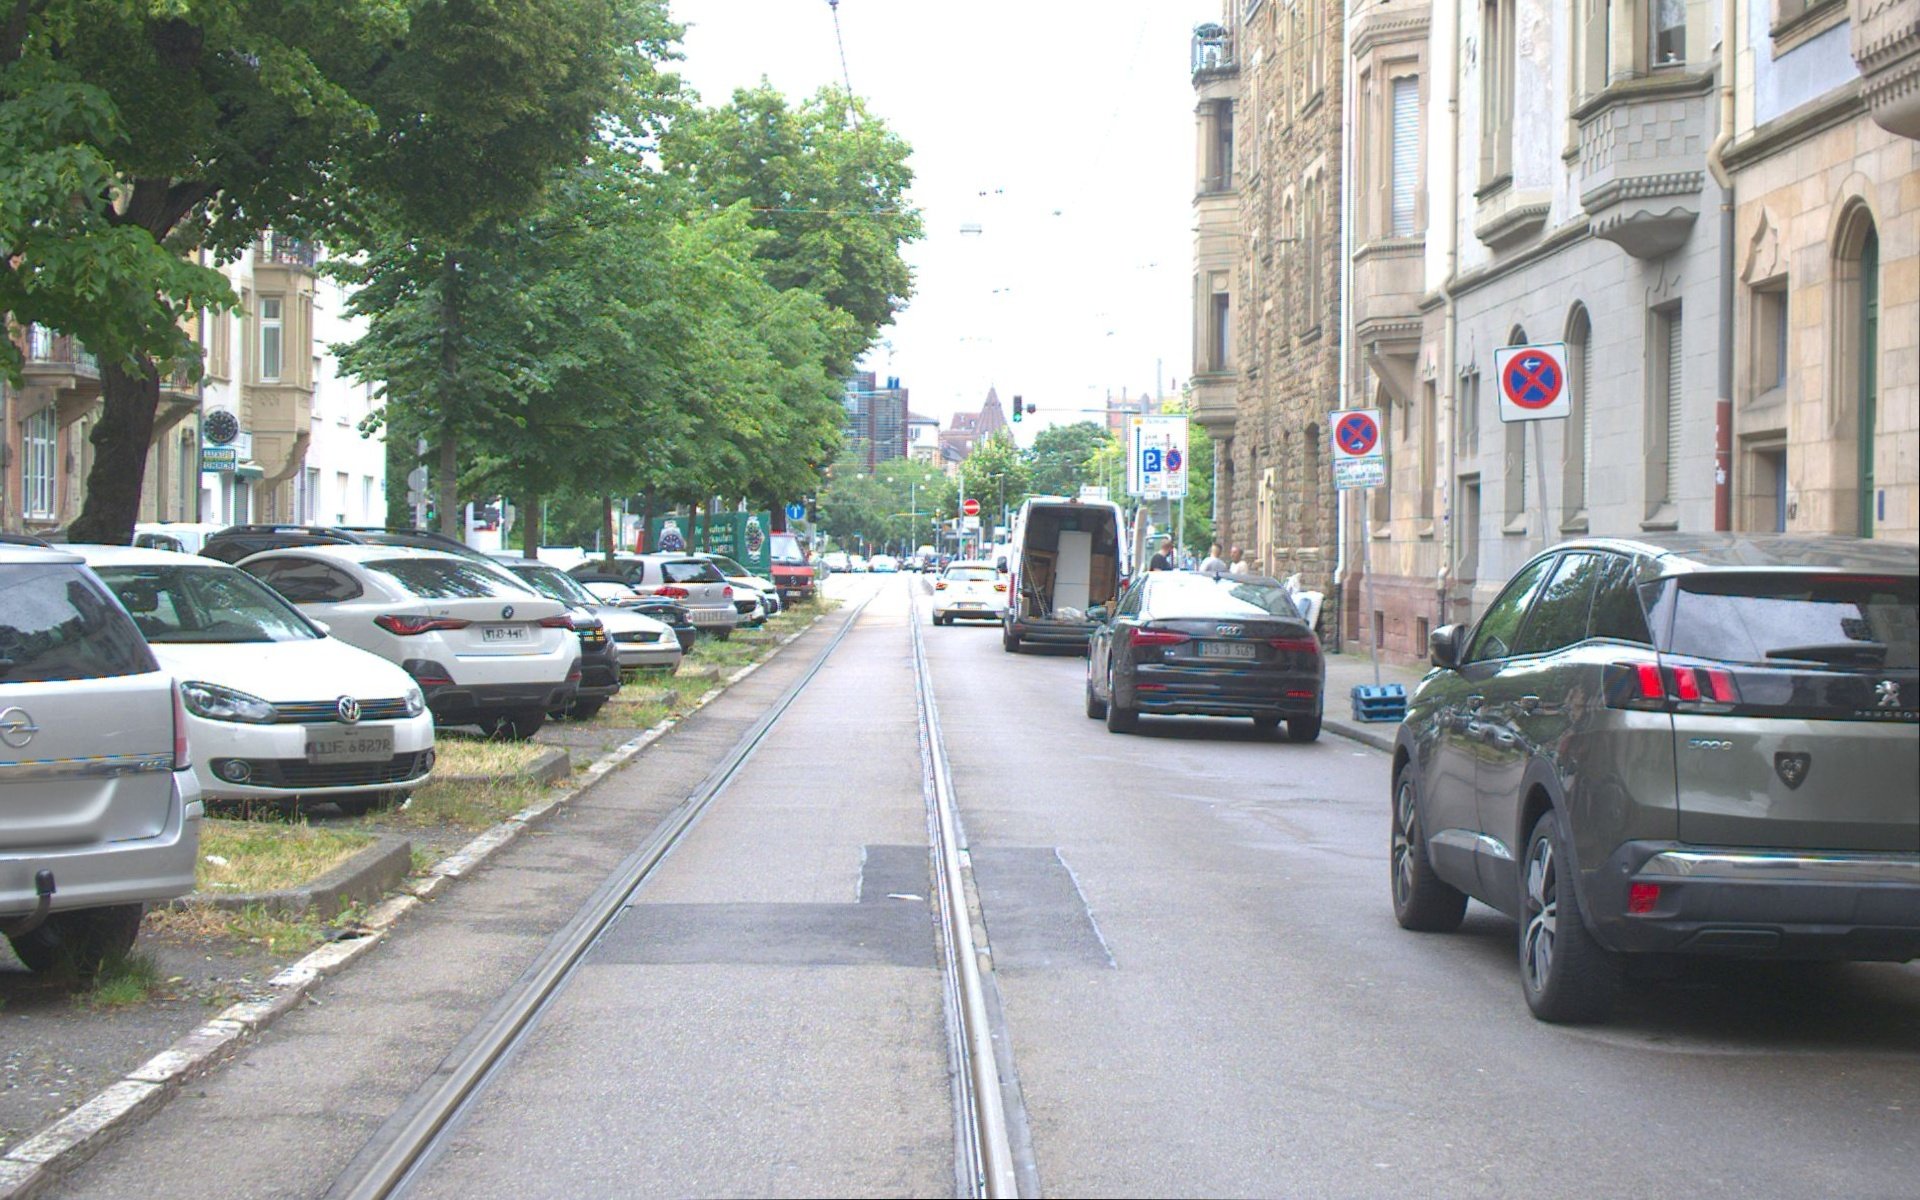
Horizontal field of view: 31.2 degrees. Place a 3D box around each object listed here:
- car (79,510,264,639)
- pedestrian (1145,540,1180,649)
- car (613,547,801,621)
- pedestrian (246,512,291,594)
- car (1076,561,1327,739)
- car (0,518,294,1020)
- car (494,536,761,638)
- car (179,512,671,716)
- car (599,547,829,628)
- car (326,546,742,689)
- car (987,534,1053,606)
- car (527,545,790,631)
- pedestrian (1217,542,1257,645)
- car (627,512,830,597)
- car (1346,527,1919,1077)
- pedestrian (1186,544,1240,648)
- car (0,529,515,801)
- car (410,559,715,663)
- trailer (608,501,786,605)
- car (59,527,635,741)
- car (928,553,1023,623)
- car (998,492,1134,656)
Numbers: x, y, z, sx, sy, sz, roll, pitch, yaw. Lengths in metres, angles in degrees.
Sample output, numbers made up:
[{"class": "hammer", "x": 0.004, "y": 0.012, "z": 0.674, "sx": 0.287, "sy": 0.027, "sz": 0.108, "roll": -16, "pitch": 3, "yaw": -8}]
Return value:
[{"class": "car", "x": -12.587, "y": -0.410, "z": 55.189, "sx": 1.881, "sy": 1.945, "sz": 5.094, "roll": 1, "pitch": 0, "yaw": -1}, {"class": "pedestrian", "x": 3.396, "y": -0.104, "z": 57.699, "sx": 0.499, "sy": 1.809, "sz": 0.803, "roll": -1, "pitch": 1, "yaw": 1}, {"class": "car", "x": -5.320, "y": -0.345, "z": 72.010, "sx": 3.860, "sy": 1.458, "sz": 1.685, "roll": 2, "pitch": 1, "yaw": 42}, {"class": "pedestrian", "x": -15.040, "y": -1.017, "z": 74.806, "sx": 0.797, "sy": 1.760, "sz": 0.900, "roll": 1, "pitch": 1, "yaw": -2}, {"class": "car", "x": 2.133, "y": 0.398, "z": 31.663, "sx": 1.801, "sy": 1.433, "sz": 5.196, "roll": 1, "pitch": 1, "yaw": -1}, {"class": "car", "x": -4.393, "y": 0.443, "z": 11.848, "sx": 1.858, "sy": 1.488, "sz": 4.562, "roll": 1, "pitch": 1, "yaw": -45}, {"class": "car", "x": -5.250, "y": -0.219, "z": 54.073, "sx": 4.114, "sy": 1.479, "sz": 1.793, "roll": 2, "pitch": 1, "yaw": 40}, {"class": "car", "x": -4.675, "y": 0.081, "z": 29.631, "sx": 4.529, "sy": 1.627, "sz": 1.761, "roll": 1, "pitch": 0, "yaw": 43}, {"class": "car", "x": -4.731, "y": -0.254, "z": 65.752, "sx": 4.337, "sy": 1.430, "sz": 1.894, "roll": 2, "pitch": 1, "yaw": 42}, {"class": "car", "x": -4.596, "y": 0.157, "z": 36.663, "sx": 4.664, "sy": 1.363, "sz": 1.753, "roll": 2, "pitch": 1, "yaw": 42}, {"class": "car", "x": 1.687, "y": -0.865, "z": 97.126, "sx": 1.782, "sy": 1.956, "sz": 4.382, "roll": 1, "pitch": 1, "yaw": 1}, {"class": "car", "x": -5.439, "y": -0.230, "z": 61.695, "sx": 4.684, "sy": 1.430, "sz": 1.894, "roll": 2, "pitch": 1, "yaw": 39}, {"class": "pedestrian", "x": 4.653, "y": -0.120, "z": 57.805, "sx": 0.507, "sy": 1.711, "sz": 0.581, "roll": -1, "pitch": 1, "yaw": -11}, {"class": "car", "x": -5.593, "y": -1.103, "z": 82.776, "sx": 4.763, "sy": 1.967, "sz": 1.955, "roll": 1, "pitch": 1, "yaw": 38}, {"class": "car", "x": 2.669, "y": 0.569, "z": 12.573, "sx": 1.759, "sy": 1.616, "sz": 4.695, "roll": 1, "pitch": 1, "yaw": -2}, {"class": "pedestrian", "x": 4.187, "y": -0.072, "z": 56.961, "sx": 0.702, "sy": 1.694, "sz": 0.493, "roll": -2, "pitch": 1, "yaw": -28}, {"class": "car", "x": -4.523, "y": 0.285, "z": 19.111, "sx": 4.127, "sy": 1.307, "sz": 1.858, "roll": 3, "pitch": 1, "yaw": 44}, {"class": "car", "x": -5.094, "y": 0.118, "z": 43.724, "sx": 3.960, "sy": 1.198, "sz": 1.664, "roll": 2, "pitch": 1, "yaw": 43}, {"class": "trailer", "x": -6.125, "y": -1.102, "z": 79.942, "sx": 3.666, "sy": 2.336, "sz": 1.927, "roll": 1, "pitch": 1, "yaw": 32}, {"class": "car", "x": -4.779, "y": 0.217, "z": 26.413, "sx": 4.538, "sy": 1.485, "sz": 2.031, "roll": 1, "pitch": 0, "yaw": 43}, {"class": "car", "x": 0.373, "y": -0.289, "z": 75.866, "sx": 1.783, "sy": 1.467, "sz": 4.009, "roll": 1, "pitch": 1, "yaw": 4}, {"class": "car", "x": 1.740, "y": -0.468, "z": 58.871, "sx": 2.013, "sy": 2.540, "sz": 7.017, "roll": 3, "pitch": 1, "yaw": 0}]
